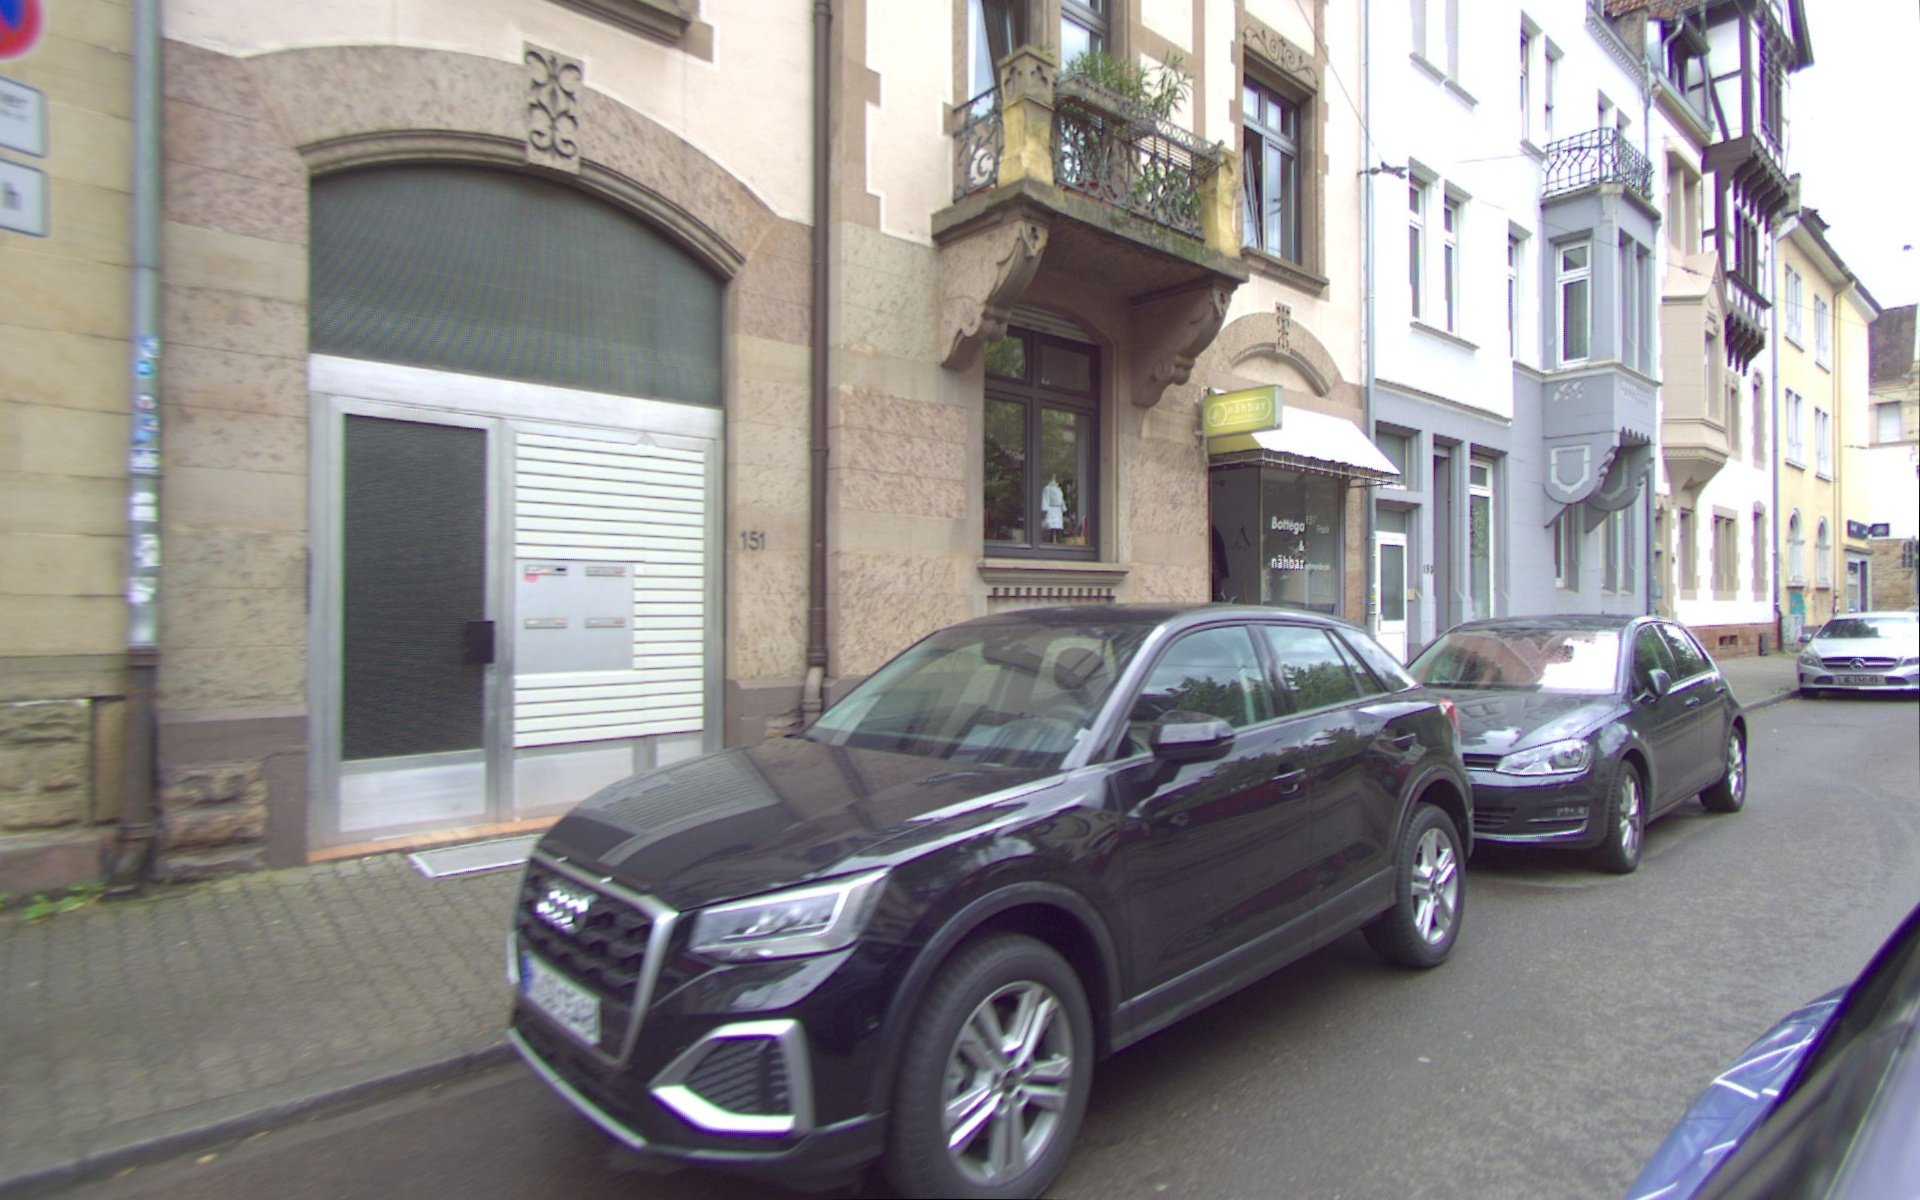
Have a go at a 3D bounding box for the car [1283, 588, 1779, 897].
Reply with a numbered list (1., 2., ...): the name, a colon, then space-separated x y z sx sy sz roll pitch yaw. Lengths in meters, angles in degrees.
1. car: 4.213 0.751 7.132 4.316 1.533 1.699 0 -3 -42

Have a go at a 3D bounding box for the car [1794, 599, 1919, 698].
1. car: 16.053 0.774 17.464 4.139 1.533 1.791 0 -3 -40

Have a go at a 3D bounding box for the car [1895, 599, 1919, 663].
1. car: 24.456 0.713 24.904 4.140 1.507 1.633 0 -3 -41

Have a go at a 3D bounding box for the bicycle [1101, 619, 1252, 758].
1. bicycle: 1.979 0.757 9.145 1.560 1.111 0.422 0 4 -41

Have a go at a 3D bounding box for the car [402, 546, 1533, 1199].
1. car: 0.479 0.712 3.900 4.344 1.533 1.699 0 -3 -43
